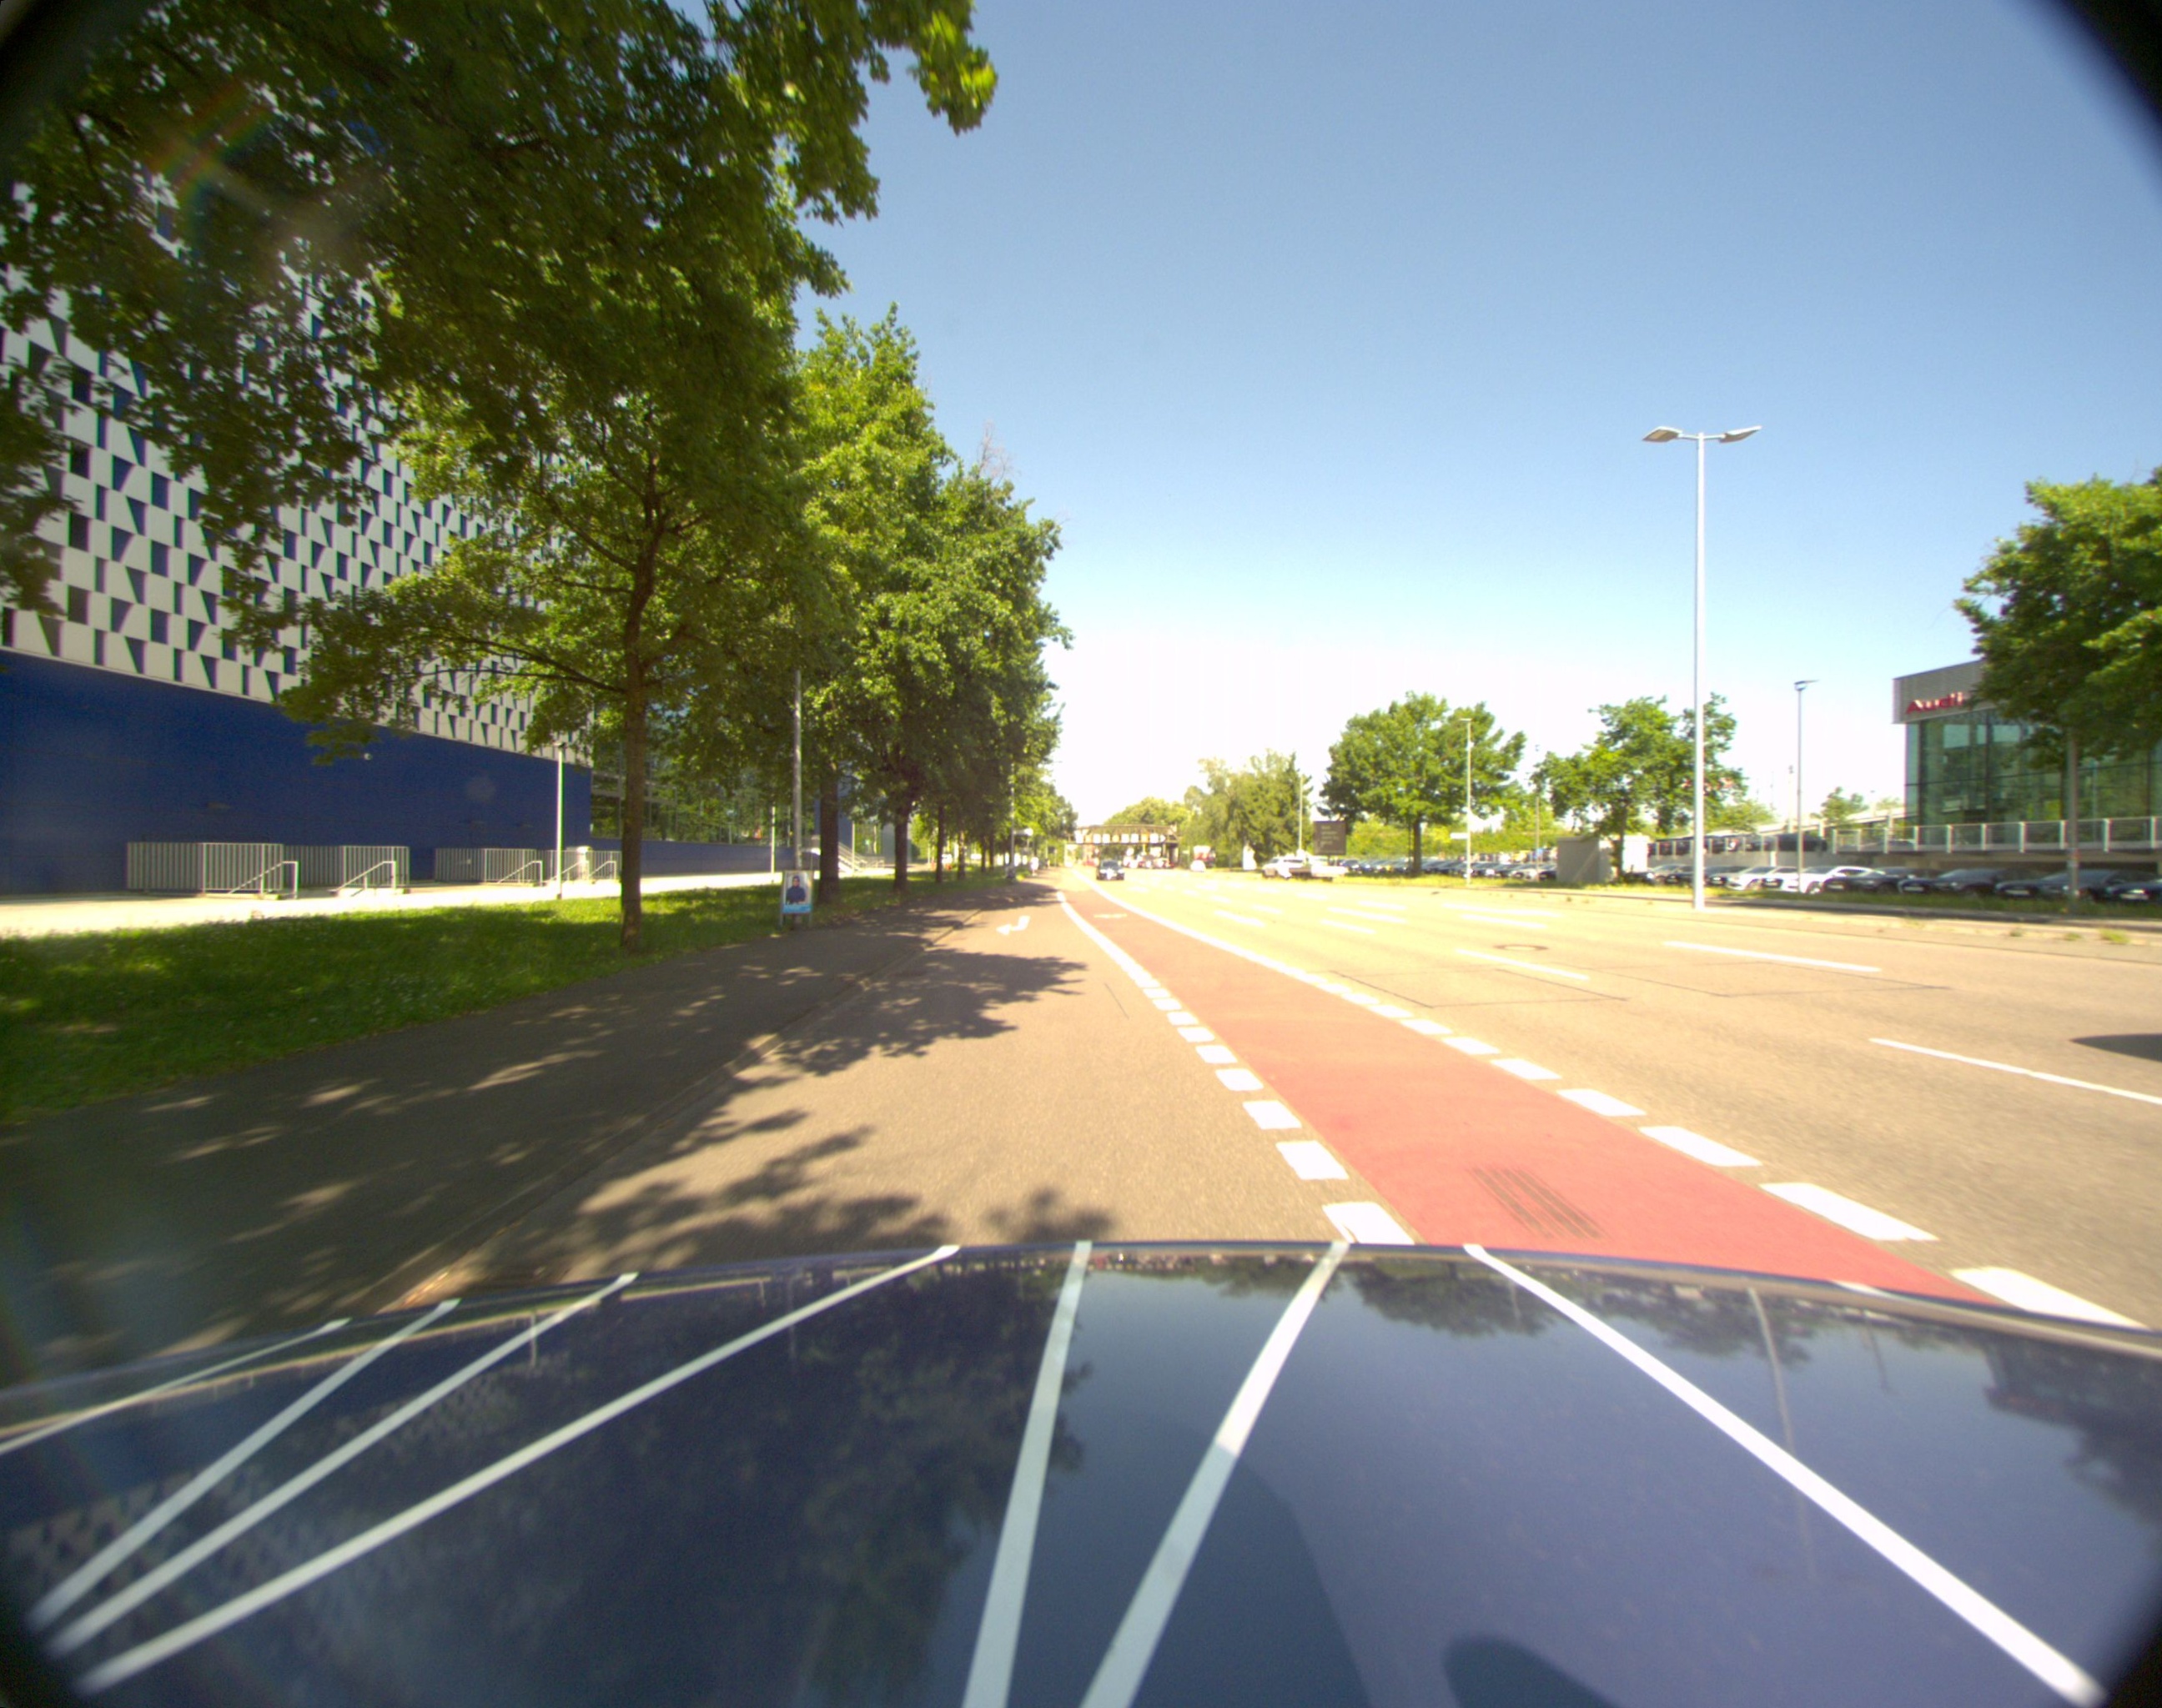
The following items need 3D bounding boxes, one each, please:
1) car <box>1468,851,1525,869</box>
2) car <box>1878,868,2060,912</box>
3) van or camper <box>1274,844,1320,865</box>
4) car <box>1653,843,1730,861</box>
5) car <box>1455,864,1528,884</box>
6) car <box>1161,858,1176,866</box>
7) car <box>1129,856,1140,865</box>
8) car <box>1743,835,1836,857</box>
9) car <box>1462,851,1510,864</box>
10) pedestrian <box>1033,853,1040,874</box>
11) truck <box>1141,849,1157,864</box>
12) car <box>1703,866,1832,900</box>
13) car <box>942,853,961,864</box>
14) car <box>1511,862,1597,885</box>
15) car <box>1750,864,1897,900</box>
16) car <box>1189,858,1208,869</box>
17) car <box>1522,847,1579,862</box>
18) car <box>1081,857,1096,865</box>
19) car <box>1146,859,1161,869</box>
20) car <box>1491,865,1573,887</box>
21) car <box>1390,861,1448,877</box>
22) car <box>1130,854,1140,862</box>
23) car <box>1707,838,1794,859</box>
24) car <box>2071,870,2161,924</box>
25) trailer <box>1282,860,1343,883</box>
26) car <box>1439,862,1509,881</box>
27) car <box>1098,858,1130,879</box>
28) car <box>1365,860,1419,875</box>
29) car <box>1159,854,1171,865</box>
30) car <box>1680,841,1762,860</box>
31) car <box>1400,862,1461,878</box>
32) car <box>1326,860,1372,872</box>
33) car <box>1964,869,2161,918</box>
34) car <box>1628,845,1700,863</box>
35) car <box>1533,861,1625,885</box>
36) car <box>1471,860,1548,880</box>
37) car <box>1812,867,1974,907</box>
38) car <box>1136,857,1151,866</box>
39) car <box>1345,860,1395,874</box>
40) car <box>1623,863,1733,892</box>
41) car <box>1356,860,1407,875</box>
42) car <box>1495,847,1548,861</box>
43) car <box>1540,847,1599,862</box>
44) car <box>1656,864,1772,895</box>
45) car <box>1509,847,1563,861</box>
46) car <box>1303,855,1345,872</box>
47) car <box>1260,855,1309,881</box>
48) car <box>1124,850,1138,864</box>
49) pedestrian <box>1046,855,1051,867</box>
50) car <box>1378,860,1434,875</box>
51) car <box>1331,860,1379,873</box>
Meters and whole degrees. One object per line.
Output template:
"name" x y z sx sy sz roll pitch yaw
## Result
"car" 39.542 0.550 72.359 4.276 1.633 1.954 1 0 1
"car" 30.103 1.183 25.859 3.997 1.368 1.924 1 0 -1
"van or camper" 28.220 0.092 99.395 5.393 2.455 2.000 -2 -1 -3
"car" 46.216 -0.139 57.601 4.277 1.342 1.954 1 0 0
"car" 29.674 1.453 55.018 4.276 1.342 1.954 1 0 1
"car" 15.582 1.462 135.424 1.999 1.405 4.681 1 0 -1
"car" 10.100 1.193 143.930 1.647 1.485 3.829 2 -2 -2
"car" 46.357 -0.510 49.773 4.277 1.342 1.954 1 0 0
"car" 44.663 0.380 83.782 4.277 1.342 1.954 1 0 0
"pedestrian" -3.938 0.822 67.577 0.536 1.831 0.727 1 0 -1
"truck" 14.718 0.516 165.144 2.348 3.070 7.067 0 0 -4
"car" 30.122 1.255 33.422 3.997 1.368 1.865 1 0 -1
"car" -20.838 0.713 122.492 1.909 1.818 4.183 1 0 9
"car" 30.007 1.220 48.281 4.276 1.342 1.954 1 0 1
"car" 30.217 1.115 31.012 4.052 1.368 2.025 1 0 -1
"car" 15.913 1.271 102.979 1.658 1.455 3.549 2 0 -4
"car" 45.378 0.060 73.529 4.277 1.342 1.954 1 0 0
"car" 1.992 1.967 206.527 3.998 2.001 2.000 -2 -1 -5
"car" 11.315 1.598 118.534 1.788 1.406 4.000 3 0 -1
"car" 29.960 1.448 50.602 4.276 1.342 1.954 1 0 1
"car" 29.627 1.287 66.669 4.276 1.342 1.954 1 0 1
"car" 10.805 0.874 152.328 1.773 1.485 4.178 2 -2 -1
"car" 46.276 -0.382 52.595 4.277 1.342 1.954 1 0 0
"car" 30.036 1.164 20.572 3.997 1.368 1.924 1 0 -1
"trailer" 15.340 1.119 50.694 1.999 1.444 5.770 1 0 -3
"car" 29.574 1.313 57.317 4.276 1.342 1.954 1 0 1
"car" 2.407 1.052 56.084 1.911 1.511 4.373 1 0 -3
"car" 29.334 1.250 71.771 4.276 1.342 1.954 1 0 1
"car" 15.821 1.077 143.592 1.998 2.001 5.348 1 -1 3
"car" 46.333 -0.253 55.060 4.277 1.342 1.954 1 0 0
"car" 29.445 1.333 64.097 4.276 1.342 1.954 1 0 1
"car" 29.037 1.306 82.424 4.276 1.320 1.954 1 0 1
"car" 30.095 1.191 23.246 3.997 1.368 1.924 1 0 -1
"car" 46.260 -0.023 60.338 4.277 1.342 1.954 1 0 0
"car" 29.975 1.138 45.820 4.276 1.342 1.954 1 0 1
"car" 29.684 1.114 52.723 4.276 1.342 1.954 1 0 1
"car" 30.155 1.201 28.307 3.997 1.368 1.924 1 0 -1
"car" 10.599 1.298 129.099 1.846 1.455 4.999 3 0 -1
"car" 29.254 1.320 76.932 4.276 1.342 1.954 1 0 1
"car" 30.145 1.191 38.451 3.997 1.368 2.000 1 0 -1
"car" 29.368 1.312 74.361 4.276 1.342 1.954 1 0 1
"car" 45.405 0.005 78.366 4.277 1.342 1.954 1 0 0
"car" 45.435 0.066 70.756 4.277 1.342 1.954 1 0 0
"car" 30.011 1.179 36.091 3.997 1.368 1.865 1 0 -1
"car" 45.485 0.049 75.972 4.277 1.342 1.954 1 0 0
"car" 28.043 1.068 87.743 4.276 1.873 1.954 1 0 1
"car" 14.951 1.026 56.047 1.999 1.822 4.936 1 0 -3
"car" 10.488 0.560 159.623 1.999 2.788 6.936 3 -1 -3
"pedestrian" -4.519 0.934 105.457 0.648 1.594 0.846 1 0 0
"car" 29.523 1.220 69.193 4.276 1.342 1.954 1 0 1
"car" 28.544 1.291 79.283 4.276 1.373 1.954 1 0 1
